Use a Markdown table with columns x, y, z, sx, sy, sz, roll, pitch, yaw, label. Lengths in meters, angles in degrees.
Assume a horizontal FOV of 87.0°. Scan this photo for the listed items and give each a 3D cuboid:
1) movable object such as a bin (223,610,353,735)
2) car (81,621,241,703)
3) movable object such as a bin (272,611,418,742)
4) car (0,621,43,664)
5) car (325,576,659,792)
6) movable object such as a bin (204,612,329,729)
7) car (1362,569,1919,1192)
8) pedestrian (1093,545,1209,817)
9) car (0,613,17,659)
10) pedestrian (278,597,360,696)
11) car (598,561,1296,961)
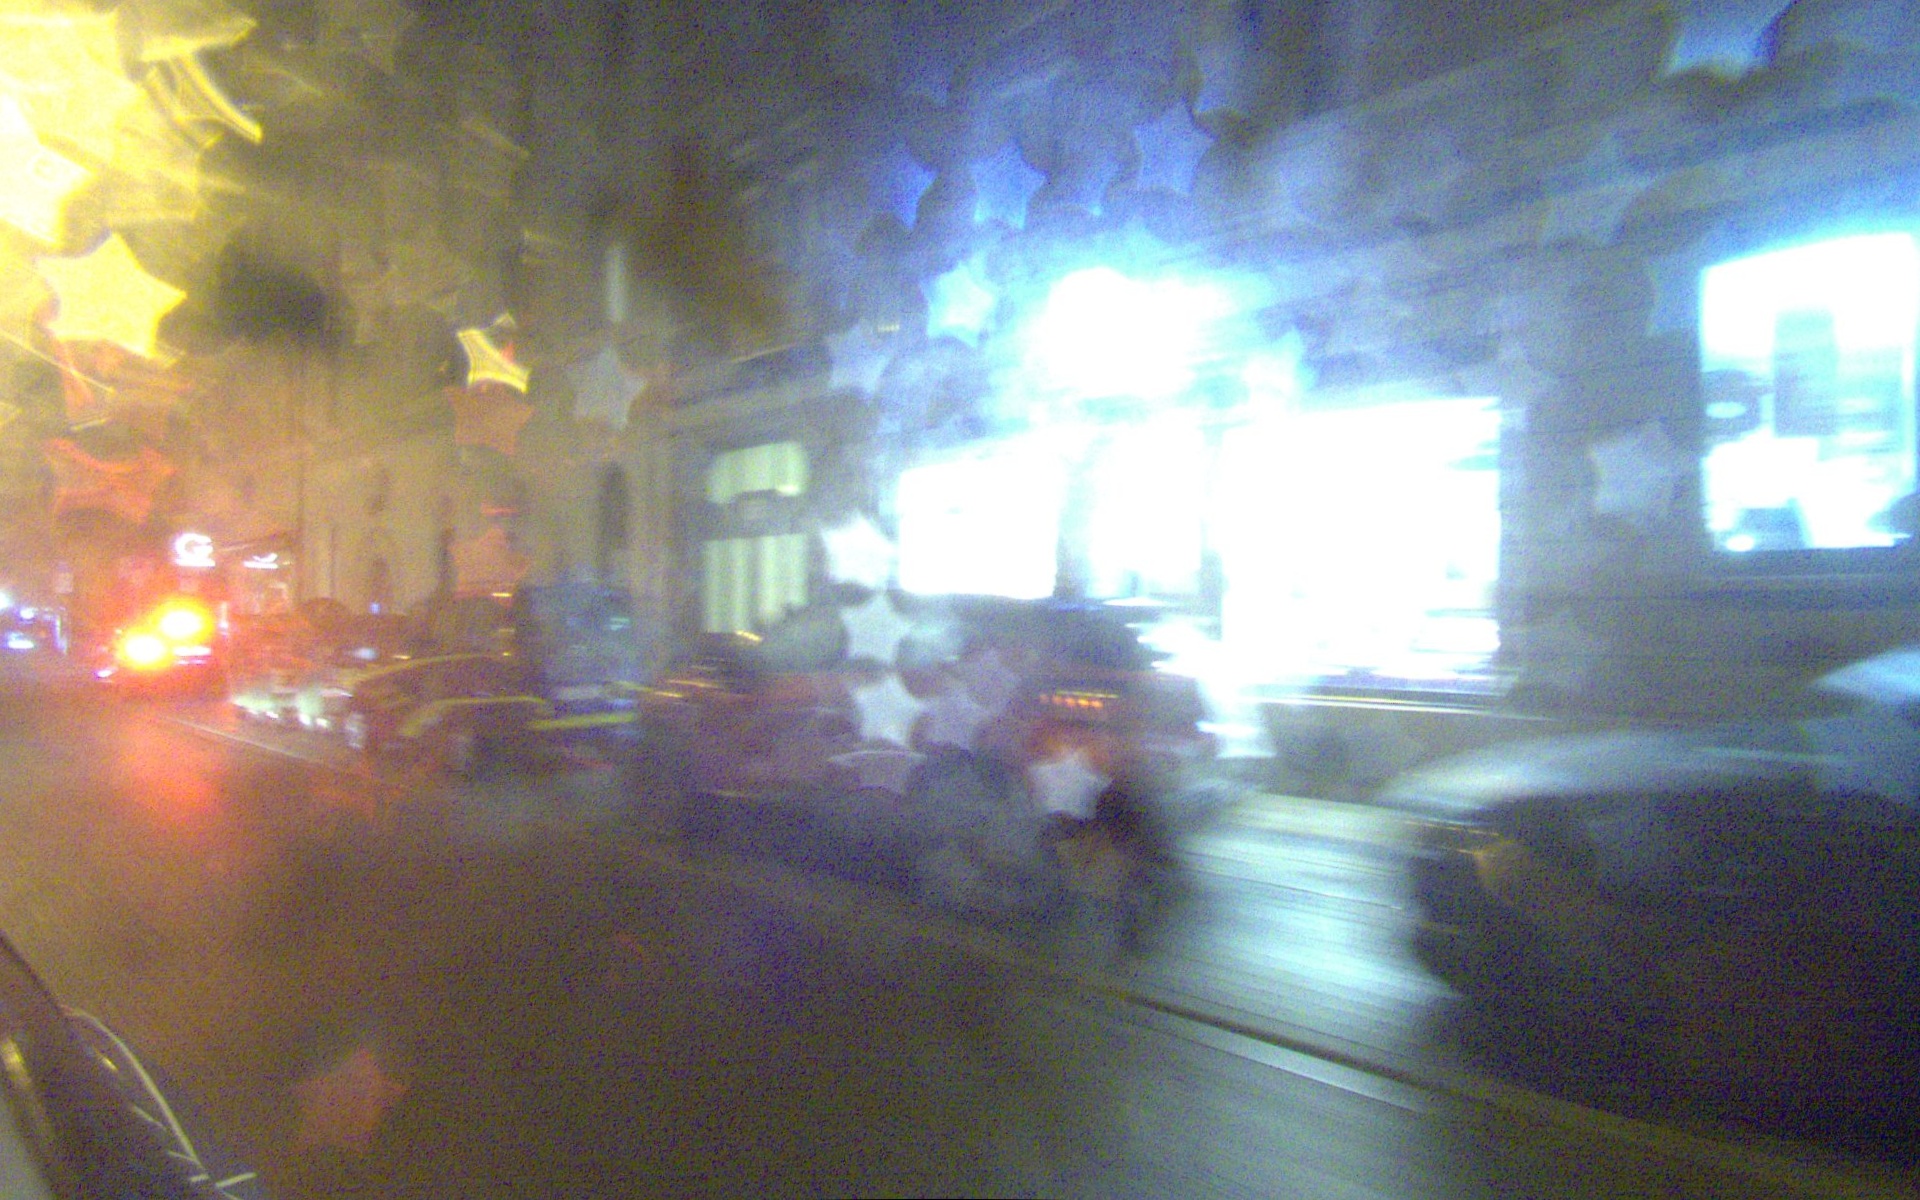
| x | y | z | sx | sy | sz | roll | pitch | yaw | label |
| --- | --- | --- | --- | --- | --- | --- | --- | --- | --- |
| -8.613 | 0.883 | 12.972 | 1.107 | 1.470 | 1.152 | -1 | 0 | 43 | movable object such as a bin |
| -15.159 | 1.095 | 19.118 | 4.220 | 1.369 | 1.637 | -1 | -2 | 41 | car |
| -7.518 | 0.883 | 12.377 | 1.151 | 1.470 | 1.248 | -1 | 0 | 43 | movable object such as a bin |
| -34.306 | 1.496 | 36.561 | 3.564 | 1.453 | 1.529 | -1 | 0 | 44 | car |
| -4.674 | 0.700 | 9.889 | 3.719 | 1.719 | 1.587 | -1 | -1 | 41 | car |
| -9.452 | 0.917 | 13.798 | 1.107 | 1.470 | 1.195 | -1 | 0 | 43 | movable object such as a bin |
| 3.459 | 0.636 | 2.436 | 4.313 | 1.466 | 1.669 | -2 | -1 | 41 | car |
| 1.347 | 0.544 | 7.125 | 0.549 | 1.794 | 0.632 | -1 | -2 | 42 | pedestrian |
| -41.425 | 1.502 | 42.784 | 4.826 | 1.860 | 1.846 | -1 | -2 | 42 | car |
| -12.030 | 0.857 | 19.004 | 0.787 | 1.796 | 1.120 | -2 | -2 | 41 | pedestrian |
| -0.330 | 0.672 | 5.893 | 4.023 | 1.564 | 1.587 | -2 | -1 | 41 | car |
